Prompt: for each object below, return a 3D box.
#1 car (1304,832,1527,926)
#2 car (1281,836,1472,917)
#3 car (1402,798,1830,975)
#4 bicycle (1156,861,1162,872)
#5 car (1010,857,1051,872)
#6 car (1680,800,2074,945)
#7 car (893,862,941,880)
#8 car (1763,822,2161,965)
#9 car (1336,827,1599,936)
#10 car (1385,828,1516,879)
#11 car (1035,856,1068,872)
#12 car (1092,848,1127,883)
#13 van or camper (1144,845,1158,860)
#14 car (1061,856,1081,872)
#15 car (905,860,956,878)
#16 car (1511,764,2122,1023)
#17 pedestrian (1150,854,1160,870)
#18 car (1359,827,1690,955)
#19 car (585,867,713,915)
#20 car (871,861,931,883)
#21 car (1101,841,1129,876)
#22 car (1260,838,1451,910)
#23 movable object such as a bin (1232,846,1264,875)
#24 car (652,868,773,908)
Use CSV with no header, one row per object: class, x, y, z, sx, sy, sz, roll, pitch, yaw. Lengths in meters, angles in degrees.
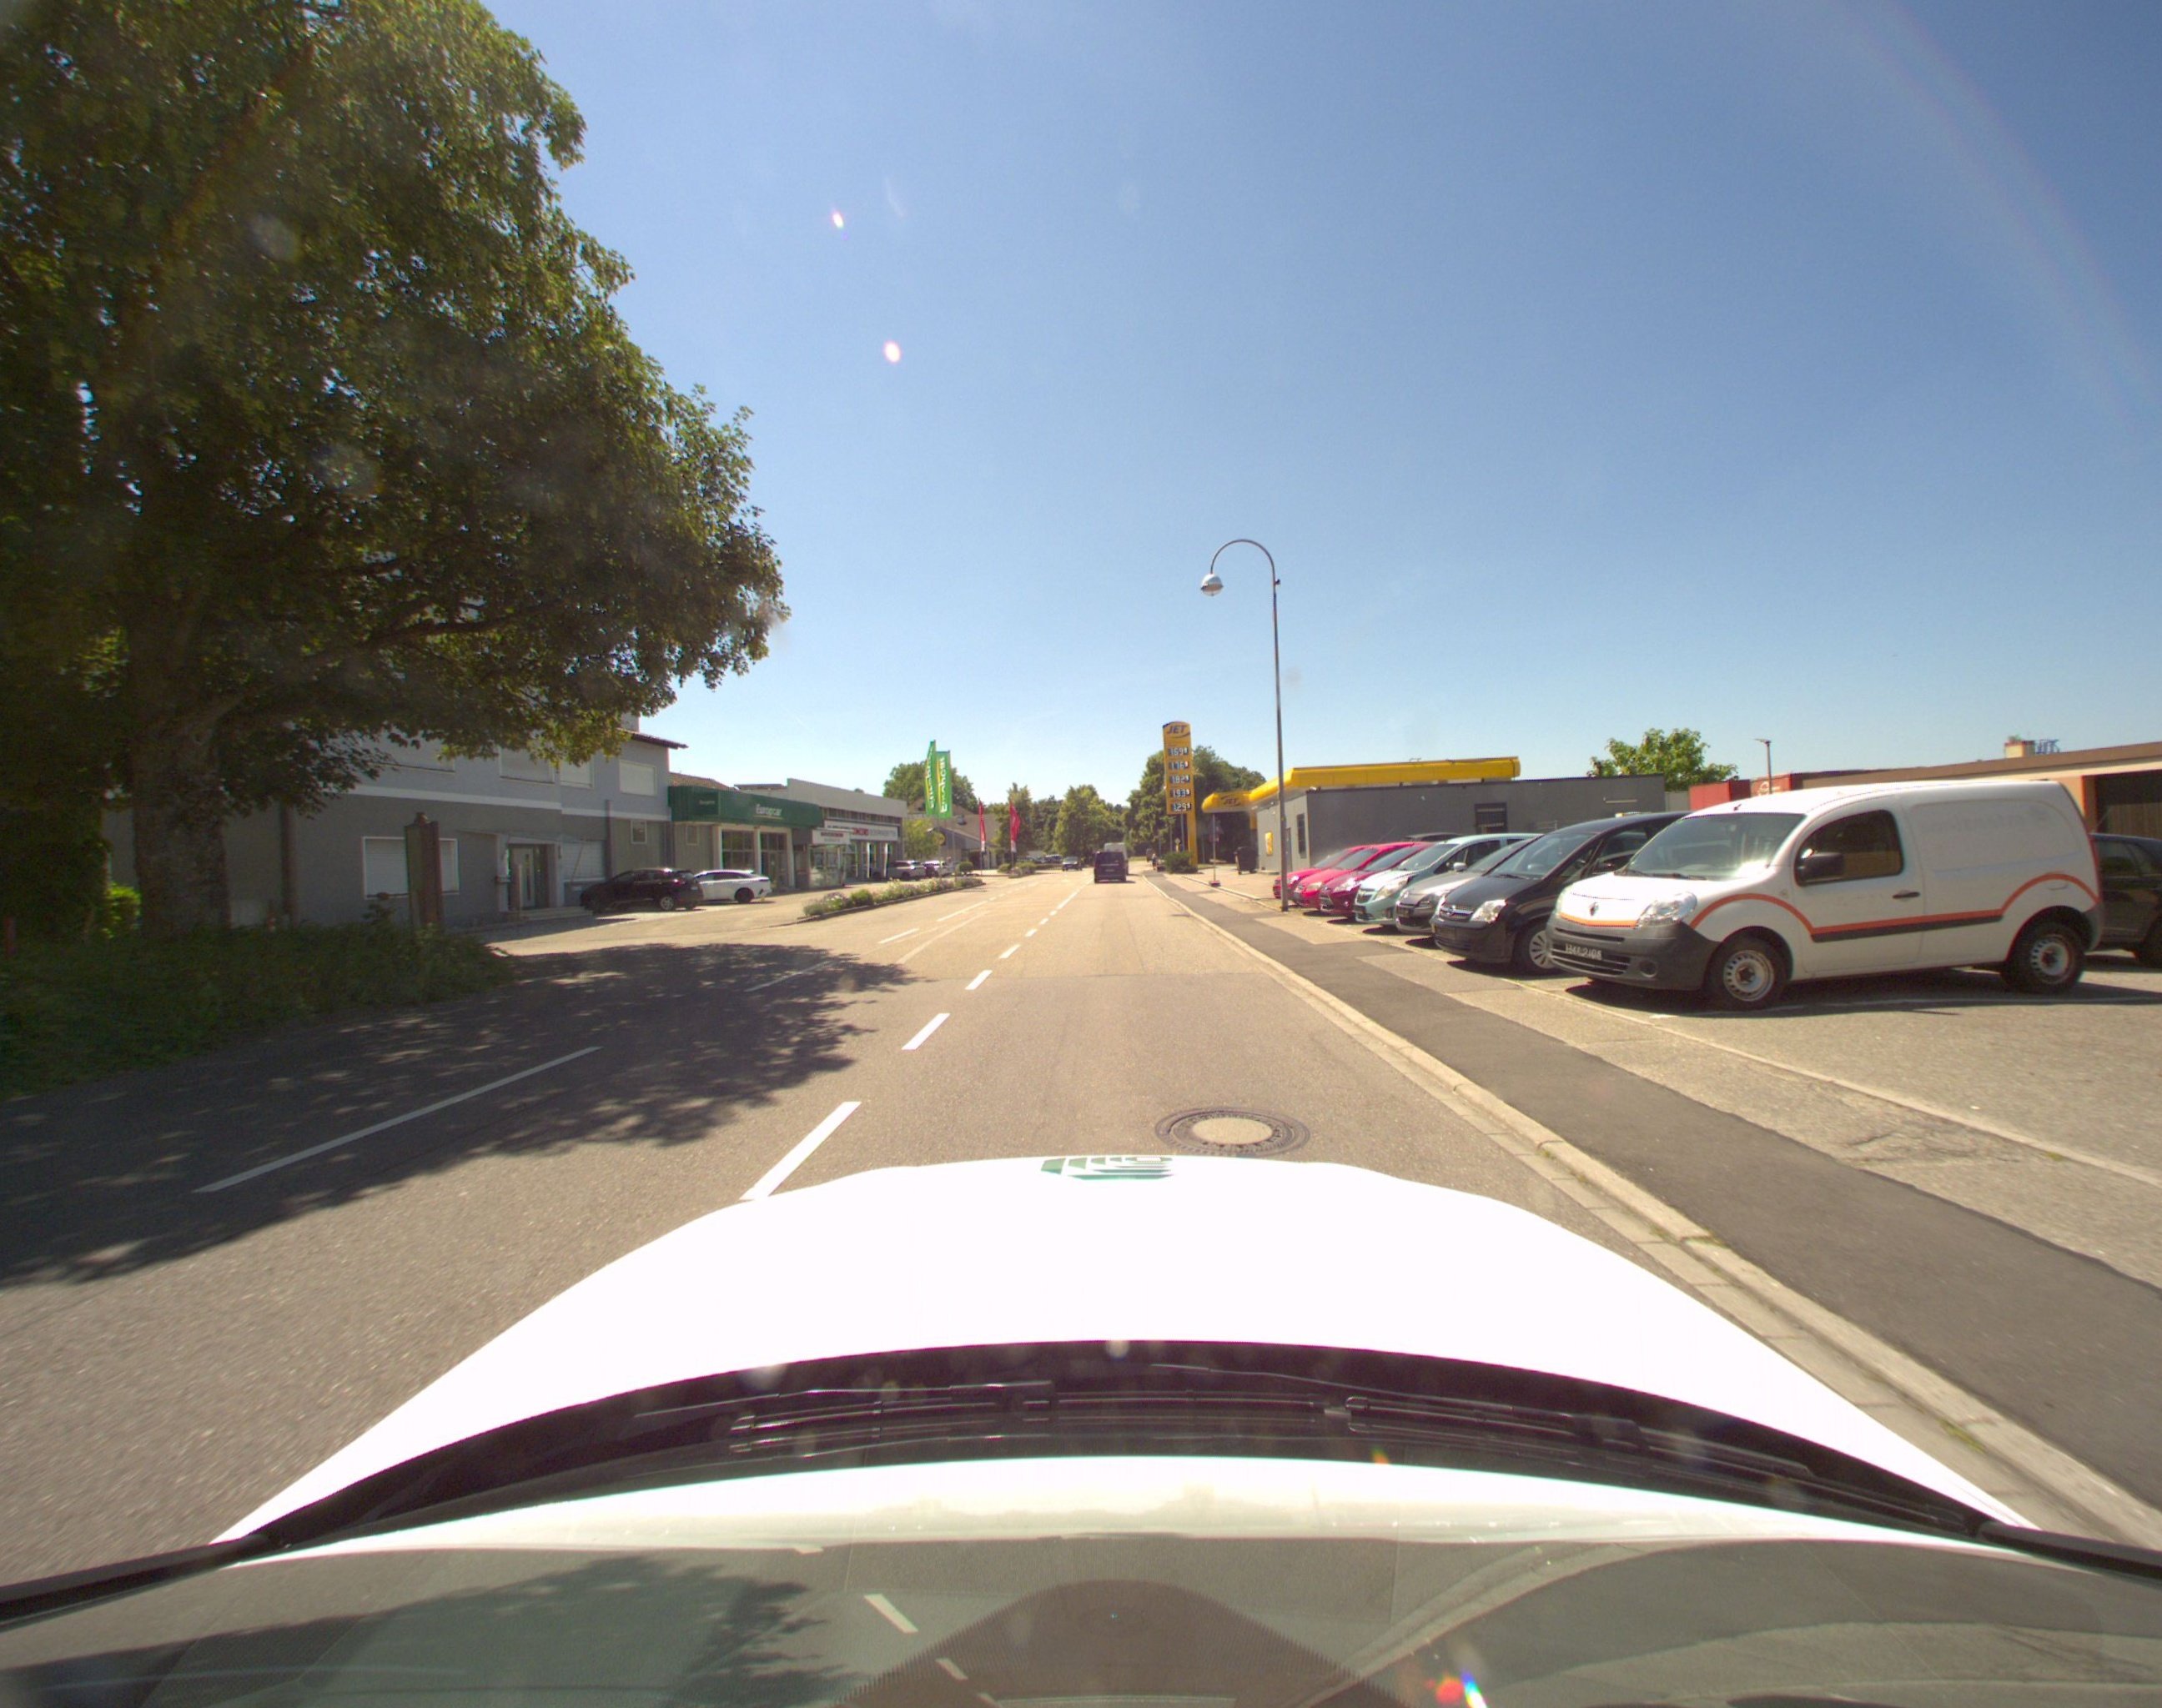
car,6.564,0.472,16.238,3.675,1.566,1.748,-3,0,-2
car,6.641,0.485,18.545,3.674,1.566,1.707,-3,0,-2
car,6.108,0.342,9.628,3.864,1.680,1.762,-3,0,-2
bicycle,7.090,1.142,74.394,0.375,0.912,1.603,-2,0,11
car,-6.222,1.269,101.480,4.678,1.762,2.104,-1,-1,10
car,11.066,0.238,11.550,3.877,1.838,1.690,1,0,3
car,-14.628,1.514,72.762,3.595,1.475,2.010,-2,0,21
car,10.525,0.433,9.516,3.598,1.468,1.946,1,0,-4
car,6.501,0.442,13.970,3.673,1.566,1.641,-3,0,-1
car,13.568,-0.010,30.114,3.969,1.657,1.950,-2,-1,4
car,-3.996,1.386,111.575,4.337,1.980,1.907,-1,-1,4
car,1.750,0.655,48.354,1.985,1.952,5.009,0,-1,3
van or camper,14.193,-0.287,166.027,2.621,2.929,5.210,-1,-1,3
car,-1.073,1.082,89.438,1.755,1.527,4.140,-3,0,3
car,-13.940,1.393,75.537,4.150,1.446,1.989,-2,0,18
car,6.513,0.298,7.526,4.126,1.938,1.805,-2,0,-4
pedestrian,6.797,0.745,74.564,0.764,1.421,0.870,-2,-1,10
car,6.278,0.500,11.891,3.777,1.509,1.834,-3,0,2
car,-15.728,1.326,29.784,3.547,1.565,1.970,-2,-1,1
car,-14.986,1.485,67.780,4.492,1.664,2.010,-2,0,21
car,2.765,0.380,65.925,2.068,2.702,4.672,0,-1,4
car,6.964,0.500,21.008,4.210,1.534,1.958,-3,0,1
movable object such as a bin,9.047,0.341,44.231,1.428,1.438,1.469,-4,0,3
car,-15.092,1.364,33.638,4.356,1.439,1.926,-2,-1,-21
